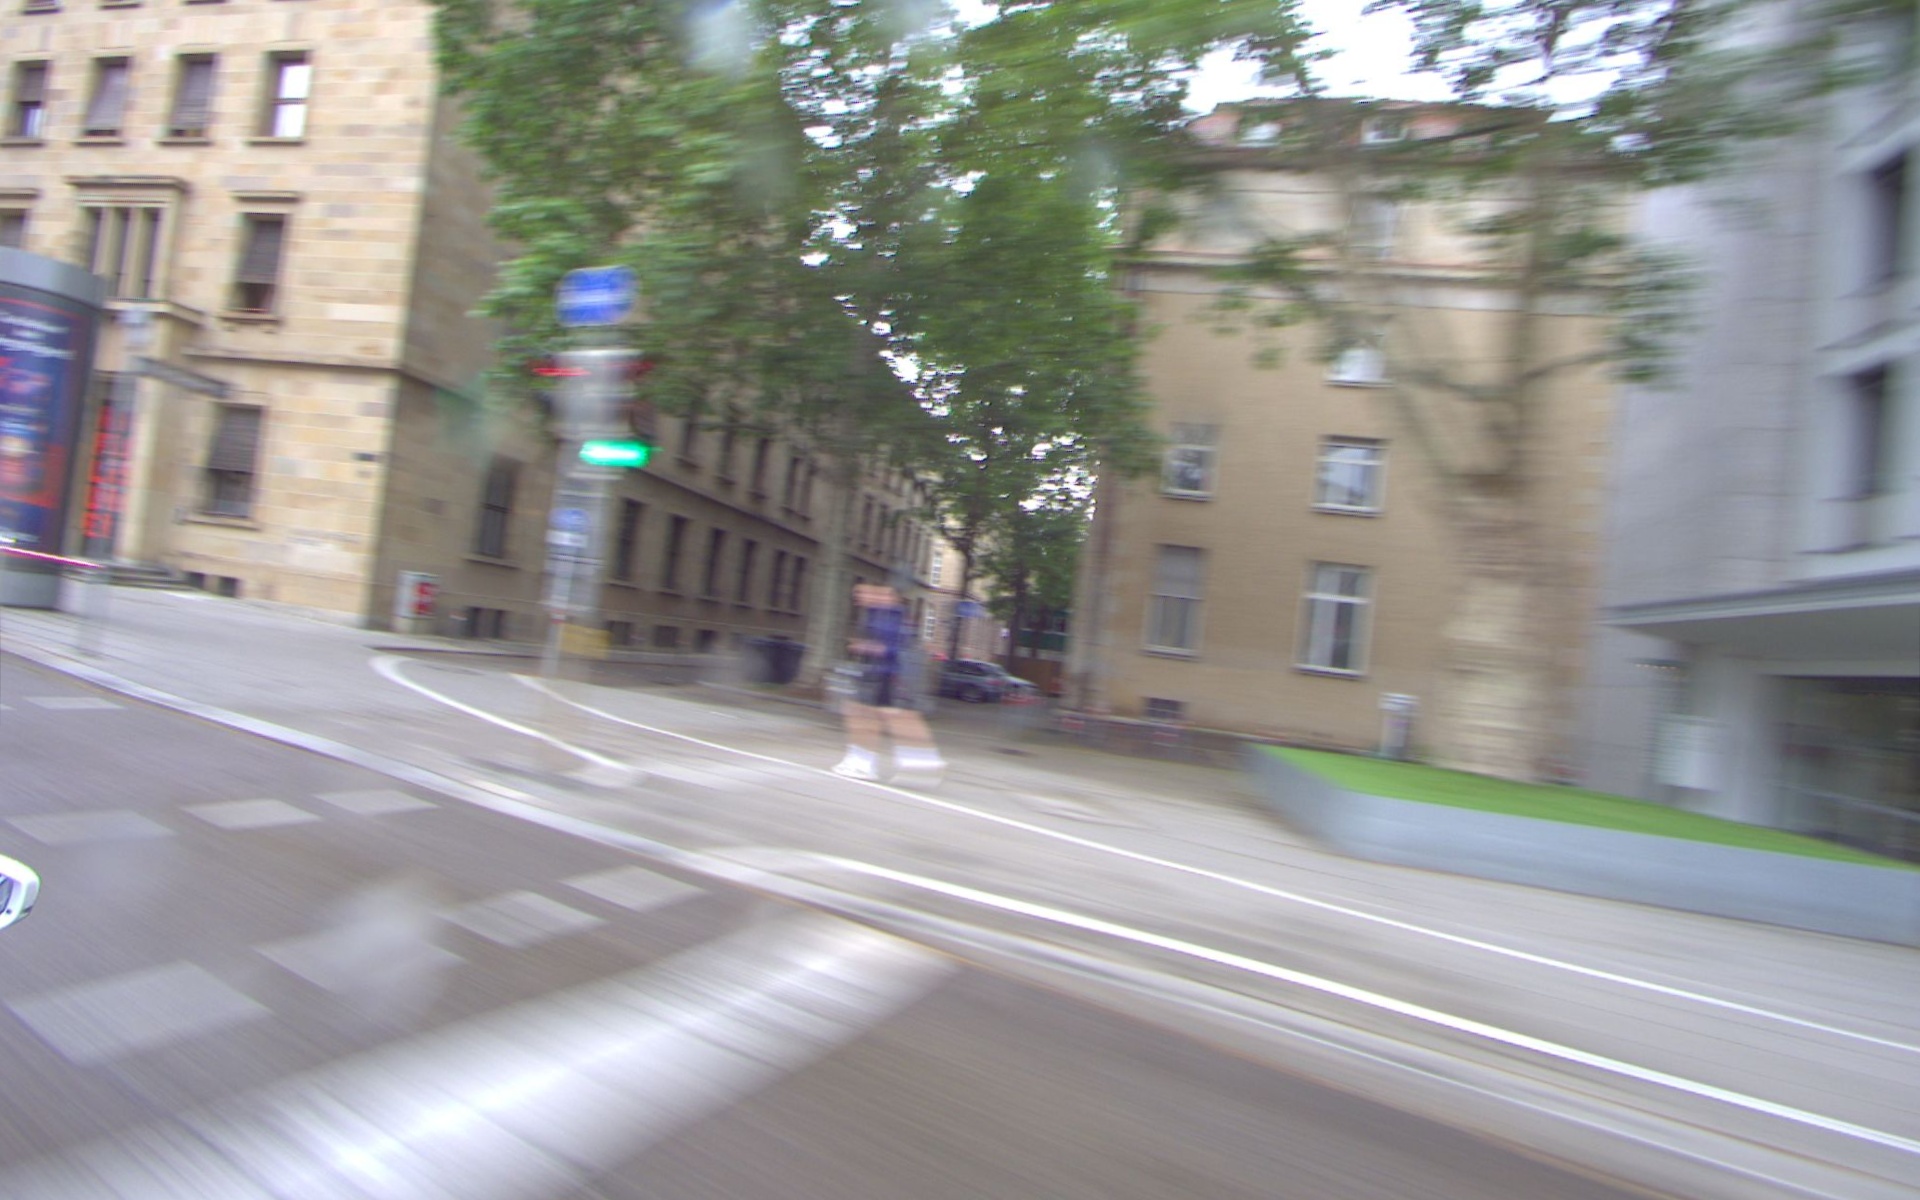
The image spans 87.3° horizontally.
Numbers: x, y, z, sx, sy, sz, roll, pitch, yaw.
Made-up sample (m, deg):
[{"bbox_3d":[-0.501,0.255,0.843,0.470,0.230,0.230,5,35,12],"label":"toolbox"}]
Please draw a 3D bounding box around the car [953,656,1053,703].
[{"bbox_3d":[2.117,3.821,48.838,4.590,1.481,1.889,8,1,7],"label":"car"}]

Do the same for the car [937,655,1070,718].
[{"bbox_3d":[1.625,3.106,36.497,4.456,1.481,1.890,8,1,10],"label":"car"}]

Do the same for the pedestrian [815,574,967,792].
[{"bbox_3d":[-0.612,0.745,9.090,0.849,1.792,0.780,7,-2,34],"label":"pedestrian"}]
